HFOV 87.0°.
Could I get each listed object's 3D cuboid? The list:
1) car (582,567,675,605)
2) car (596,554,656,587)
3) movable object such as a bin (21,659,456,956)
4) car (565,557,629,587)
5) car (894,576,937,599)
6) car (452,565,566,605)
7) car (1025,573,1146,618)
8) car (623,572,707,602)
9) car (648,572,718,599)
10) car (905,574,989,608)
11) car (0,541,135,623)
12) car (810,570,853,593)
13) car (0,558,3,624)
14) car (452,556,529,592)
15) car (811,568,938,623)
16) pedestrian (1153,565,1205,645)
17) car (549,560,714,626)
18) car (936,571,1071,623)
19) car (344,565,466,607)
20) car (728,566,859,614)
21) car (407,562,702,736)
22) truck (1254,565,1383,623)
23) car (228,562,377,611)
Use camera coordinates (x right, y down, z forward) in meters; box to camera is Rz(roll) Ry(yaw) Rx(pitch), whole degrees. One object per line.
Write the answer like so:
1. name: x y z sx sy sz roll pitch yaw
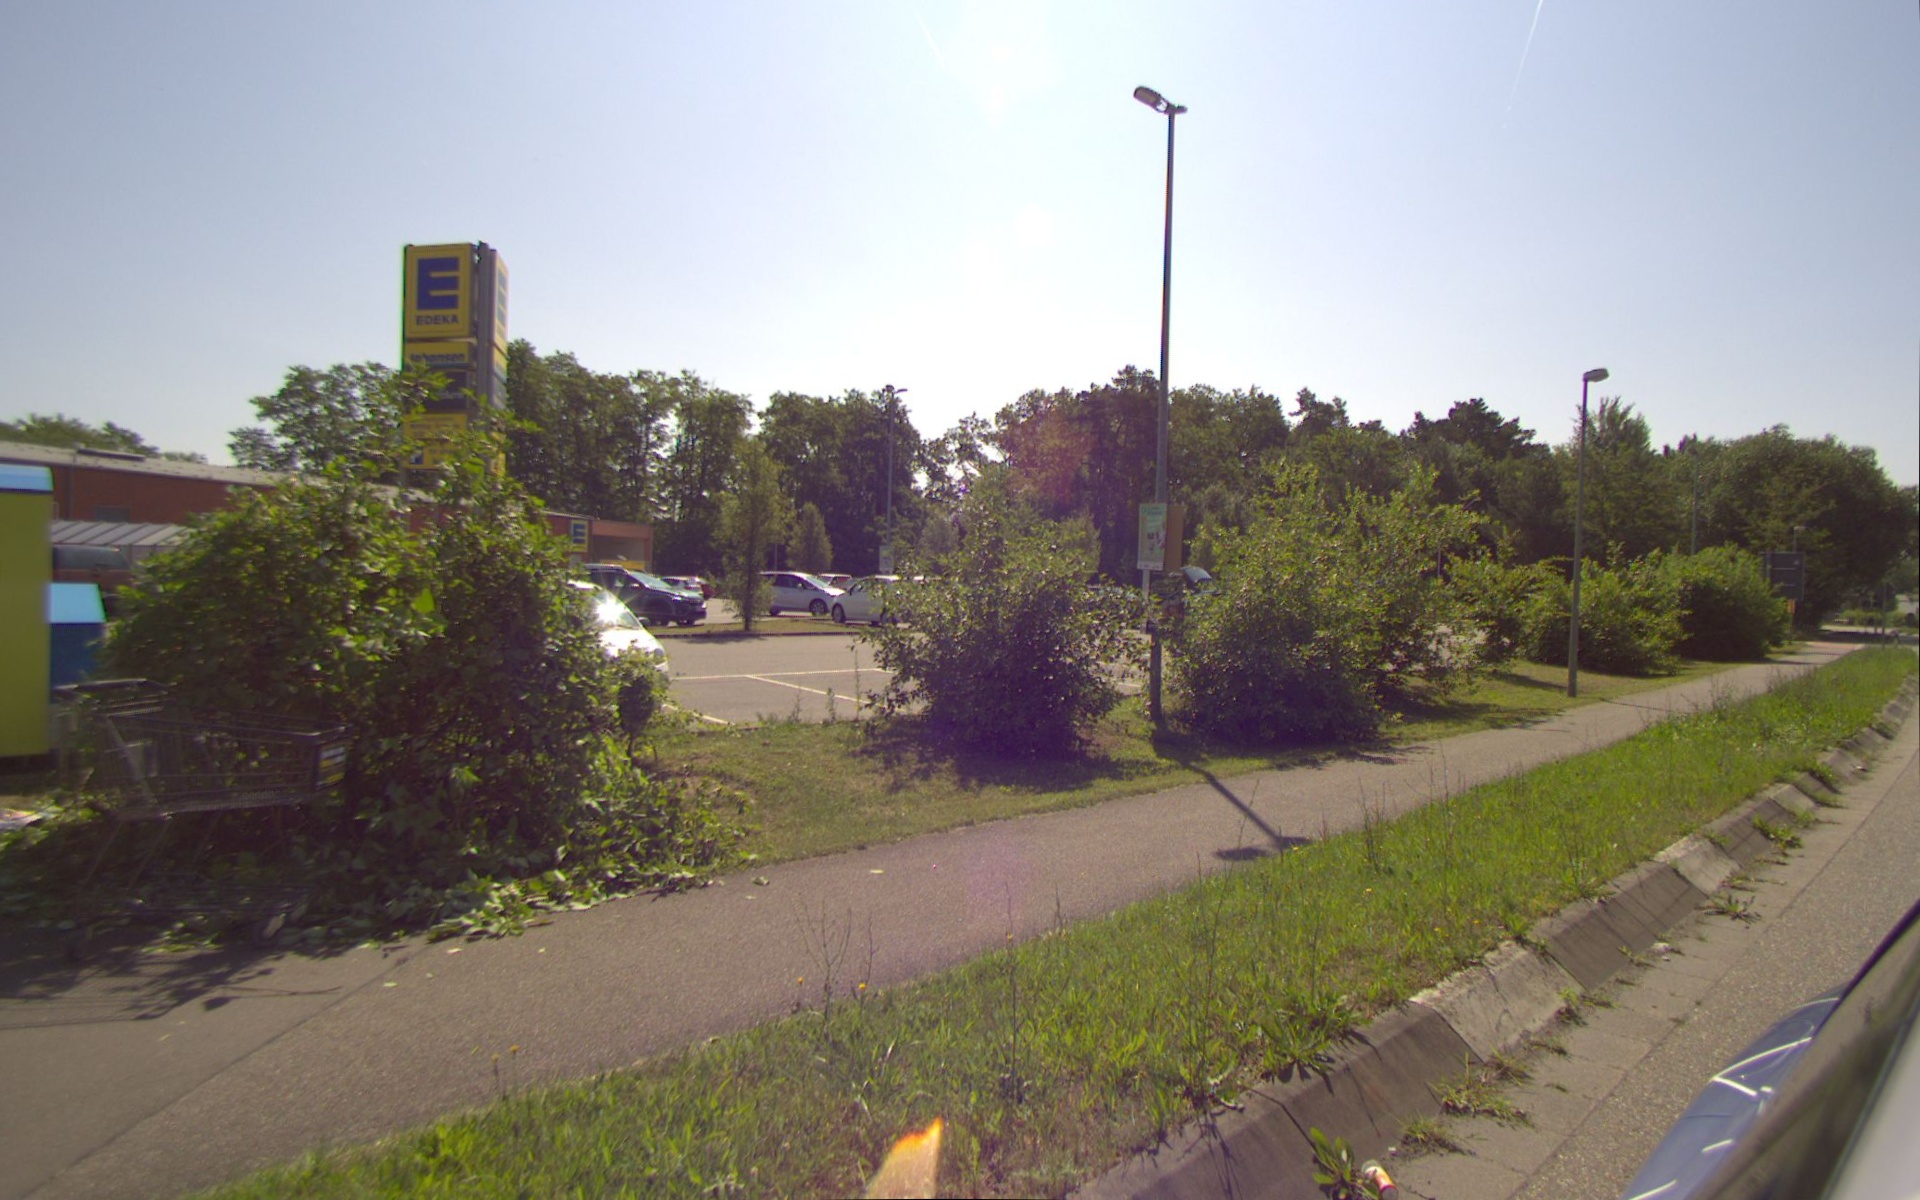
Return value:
1. car: -16.159 -0.693 49.336 3.956 1.683 1.984 2 0 24
2. car: -25.180 -2.227 76.318 3.976 2.275 1.986 2 0 22
3. movable object such as a bin: -3.229 0.881 4.717 1.424 1.134 0.872 2 0 -18
4. car: -25.968 -1.992 72.380 3.953 2.039 1.986 2 0 22
5. car: -3.487 -0.945 79.979 2.044 1.732 3.976 2 1 18
6. car: -18.542 -0.619 41.622 3.945 1.505 1.958 2 0 17
7. car: 4.474 -0.175 36.261 3.979 1.445 1.725 3 1 38
8. car: -15.460 -0.694 53.013 3.955 1.415 1.876 2 1 23
9. car: -17.616 -0.953 64.491 3.945 1.538 1.791 3 1 17
10. car: -0.657 -0.483 53.156 3.955 1.604 1.956 2 1 23
11. car: -23.172 -0.462 25.907 3.456 1.953 1.862 2 0 25
12. car: -10.449 -1.488 82.622 1.918 1.732 3.977 3 1 18
13. car: -23.757 -0.269 23.061 3.456 1.516 1.701 2 0 25
14. car: -28.354 -1.589 61.188 3.949 2.039 1.988 2 1 19
15. car: -2.583 -0.167 30.005 1.623 1.460 3.992 1 1 -43
16. pedestrian: 5.132 0.101 23.708 0.852 1.820 0.819 2 1 -44
17. car: -8.878 -0.202 27.447 3.936 1.608 1.656 2 0 11
18. car: 1.399 -0.124 33.580 4.151 1.594 1.969 2 0 42
19. car: -20.562 -0.524 37.539 3.946 1.415 1.706 2 0 18
20. car: -6.245 -0.361 38.065 4.500 1.724 1.988 0 0 18
21. car: -4.766 0.444 11.674 3.594 1.581 1.785 4 2 43
22. truck: 17.845 -0.335 50.552 5.601 2.637 2.168 3 2 44
23. car: -21.064 -0.432 32.469 3.947 1.438 1.971 2 0 18
